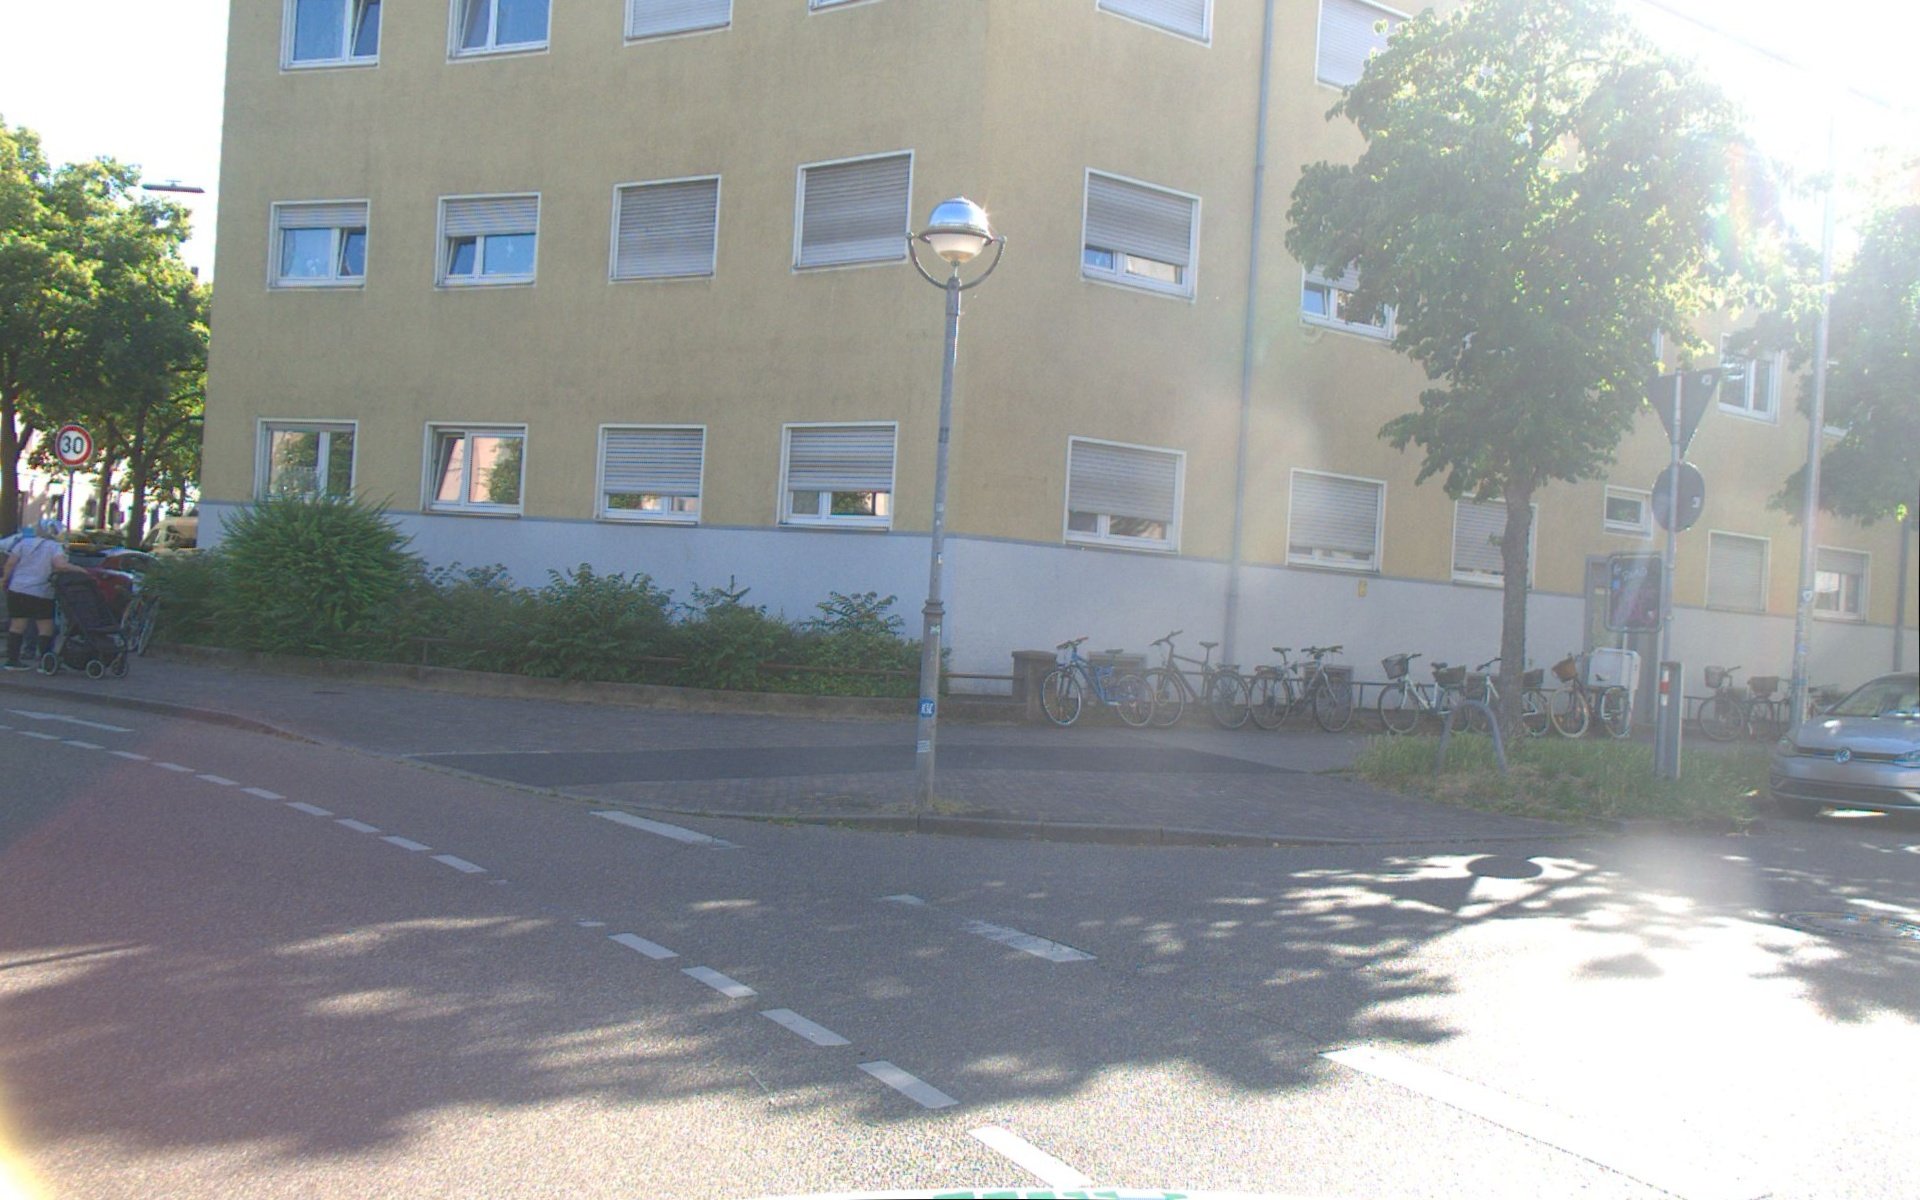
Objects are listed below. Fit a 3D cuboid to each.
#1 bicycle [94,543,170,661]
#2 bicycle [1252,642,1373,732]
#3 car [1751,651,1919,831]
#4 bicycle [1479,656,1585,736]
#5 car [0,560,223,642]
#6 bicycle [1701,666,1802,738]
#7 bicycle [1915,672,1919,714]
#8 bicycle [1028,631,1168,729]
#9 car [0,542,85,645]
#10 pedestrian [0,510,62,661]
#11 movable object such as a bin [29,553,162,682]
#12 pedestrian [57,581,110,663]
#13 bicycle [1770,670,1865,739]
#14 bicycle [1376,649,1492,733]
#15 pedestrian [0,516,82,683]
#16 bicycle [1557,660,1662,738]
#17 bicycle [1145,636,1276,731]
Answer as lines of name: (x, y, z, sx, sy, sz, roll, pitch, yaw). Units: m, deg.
bicycle: (-10.427, 0.004, 20.822, 0.744, 1.375, 2.414, 3, 0, -27)
bicycle: (4.272, 1.062, 20.006, 1.525, 1.018, 0.449, 4, -1, -33)
car: (9.487, 1.335, 15.898, 3.951, 1.467, 1.743, 4, -1, -37)
bicycle: (7.758, 1.308, 22.418, 1.525, 1.018, 0.507, 4, -1, -33)
car: (-14.770, 0.020, 29.069, 1.954, 1.233, 3.997, 4, 0, -3)
bicycle: (12.308, 1.588, 25.702, 1.725, 1.044, 0.536, 4, -1, -32)
bicycle: (22.567, 2.157, 37.399, 0.476, 0.947, 1.617, 4, -1, -35)
bicycle: (1.528, 0.887, 18.208, 1.525, 1.018, 0.472, 4, -1, -33)
car: (-14.542, -0.146, 23.830, 1.854, 1.469, 3.997, 3, 0, -4)
pedestrian: (-10.622, -0.166, 18.641, 0.738, 1.643, 0.750, 4, -1, -33)
movable object such as a bin: (-8.661, 0.178, 16.580, 0.824, 1.217, 0.769, 3, -1, 21)
pedestrian: (-9.862, 0.245, 18.619, 0.448, 0.891, 0.428, 3, -1, -25)
bicycle: (13.884, 1.695, 26.774, 1.725, 1.044, 0.531, 4, -1, -32)
bicycle: (6.164, 1.190, 21.468, 1.660, 1.018, 0.431, 4, -1, -33)
pedestrian: (-9.386, -0.003, 16.856, 0.656, 1.643, 0.689, 4, -1, -31)
bicycle: (9.154, 1.397, 23.286, 1.523, 1.018, 0.511, 4, -1, -30)
bicycle: (2.899, 0.970, 19.071, 1.525, 1.018, 0.471, 4, -1, -33)
